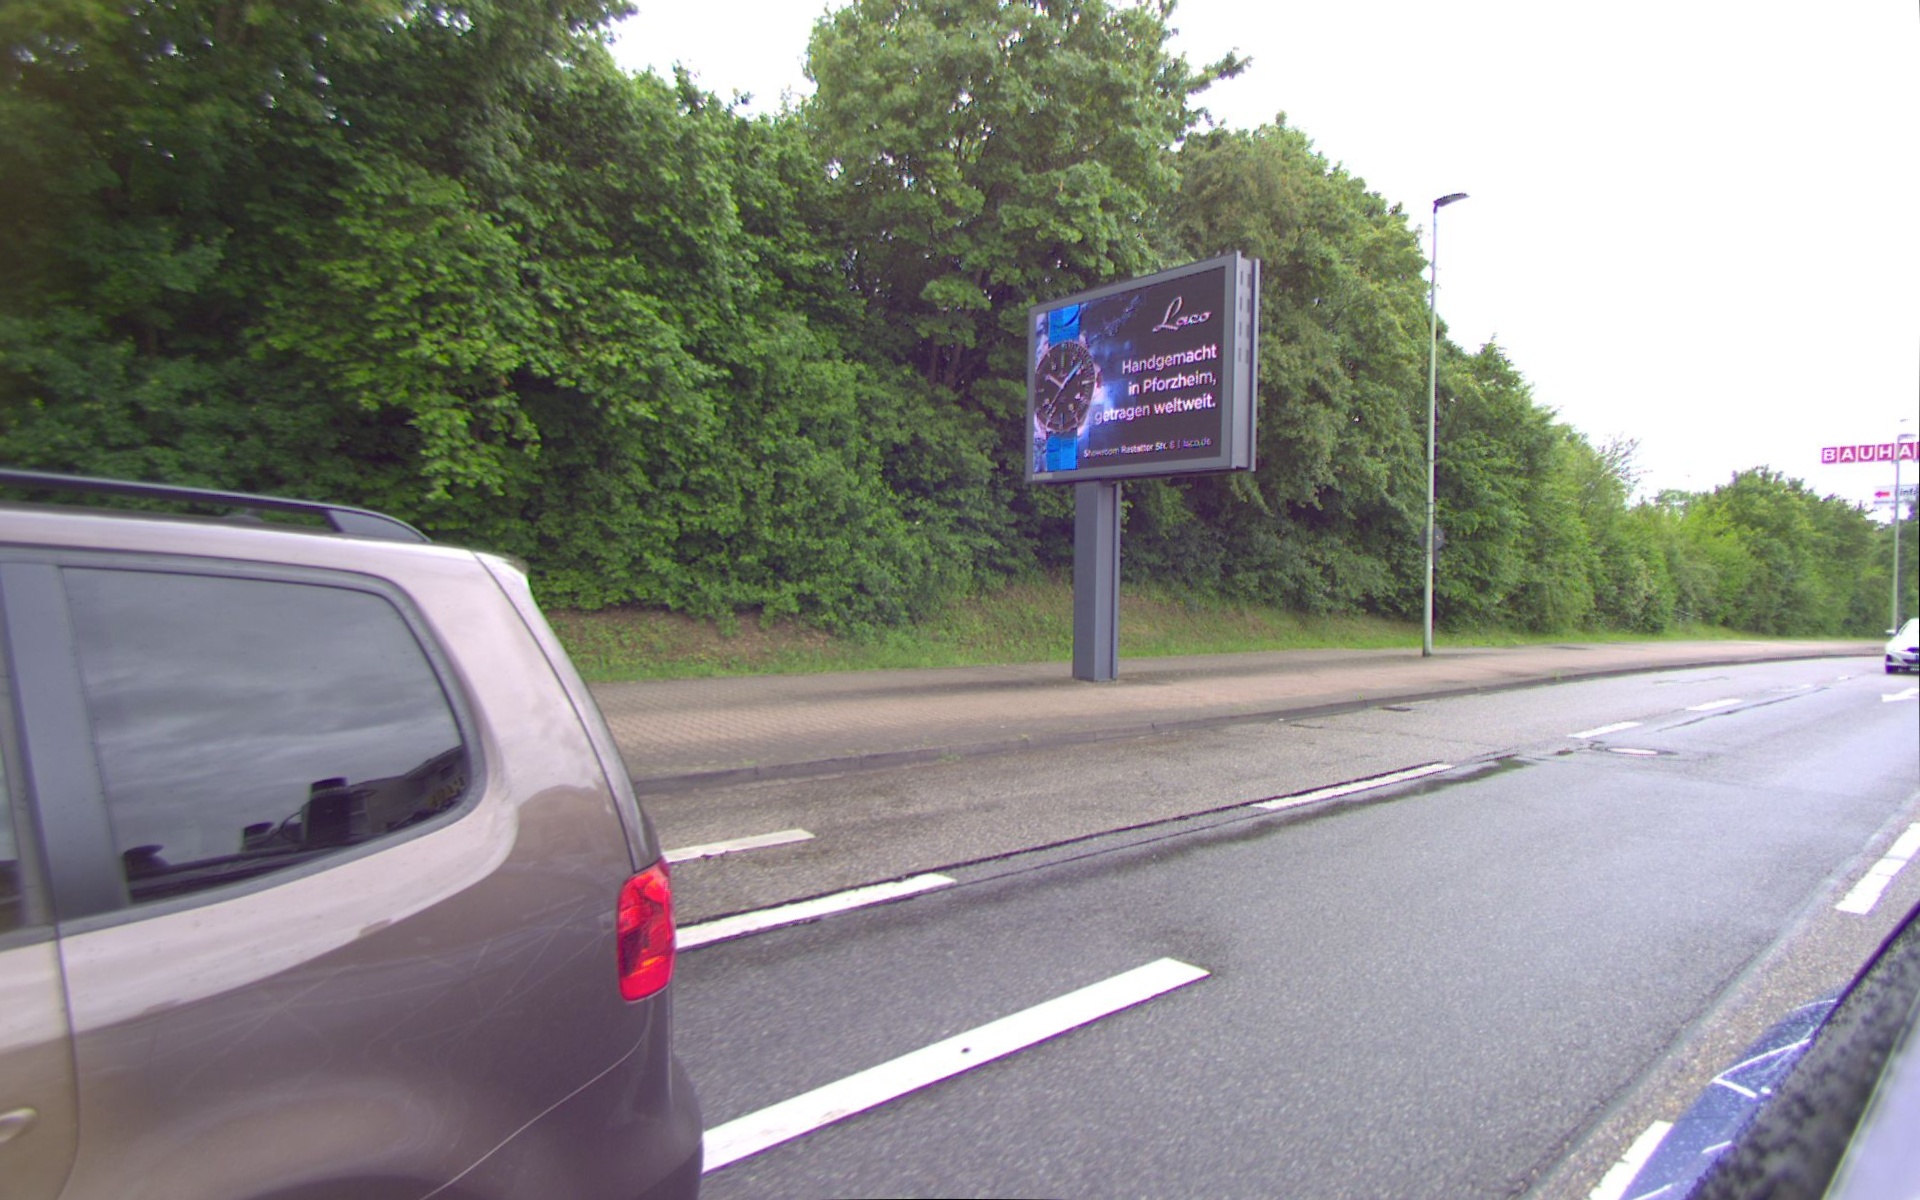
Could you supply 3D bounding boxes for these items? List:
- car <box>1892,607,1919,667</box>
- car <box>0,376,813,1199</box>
[{"bbox_3d":[26.015,1.004,26.336,3.925,1.500,1.865,2,0,-36],"label":"car"},{"bbox_3d":[-2.337,0.542,1.011,4.059,1.617,1.716,1,0,-42],"label":"car"}]
